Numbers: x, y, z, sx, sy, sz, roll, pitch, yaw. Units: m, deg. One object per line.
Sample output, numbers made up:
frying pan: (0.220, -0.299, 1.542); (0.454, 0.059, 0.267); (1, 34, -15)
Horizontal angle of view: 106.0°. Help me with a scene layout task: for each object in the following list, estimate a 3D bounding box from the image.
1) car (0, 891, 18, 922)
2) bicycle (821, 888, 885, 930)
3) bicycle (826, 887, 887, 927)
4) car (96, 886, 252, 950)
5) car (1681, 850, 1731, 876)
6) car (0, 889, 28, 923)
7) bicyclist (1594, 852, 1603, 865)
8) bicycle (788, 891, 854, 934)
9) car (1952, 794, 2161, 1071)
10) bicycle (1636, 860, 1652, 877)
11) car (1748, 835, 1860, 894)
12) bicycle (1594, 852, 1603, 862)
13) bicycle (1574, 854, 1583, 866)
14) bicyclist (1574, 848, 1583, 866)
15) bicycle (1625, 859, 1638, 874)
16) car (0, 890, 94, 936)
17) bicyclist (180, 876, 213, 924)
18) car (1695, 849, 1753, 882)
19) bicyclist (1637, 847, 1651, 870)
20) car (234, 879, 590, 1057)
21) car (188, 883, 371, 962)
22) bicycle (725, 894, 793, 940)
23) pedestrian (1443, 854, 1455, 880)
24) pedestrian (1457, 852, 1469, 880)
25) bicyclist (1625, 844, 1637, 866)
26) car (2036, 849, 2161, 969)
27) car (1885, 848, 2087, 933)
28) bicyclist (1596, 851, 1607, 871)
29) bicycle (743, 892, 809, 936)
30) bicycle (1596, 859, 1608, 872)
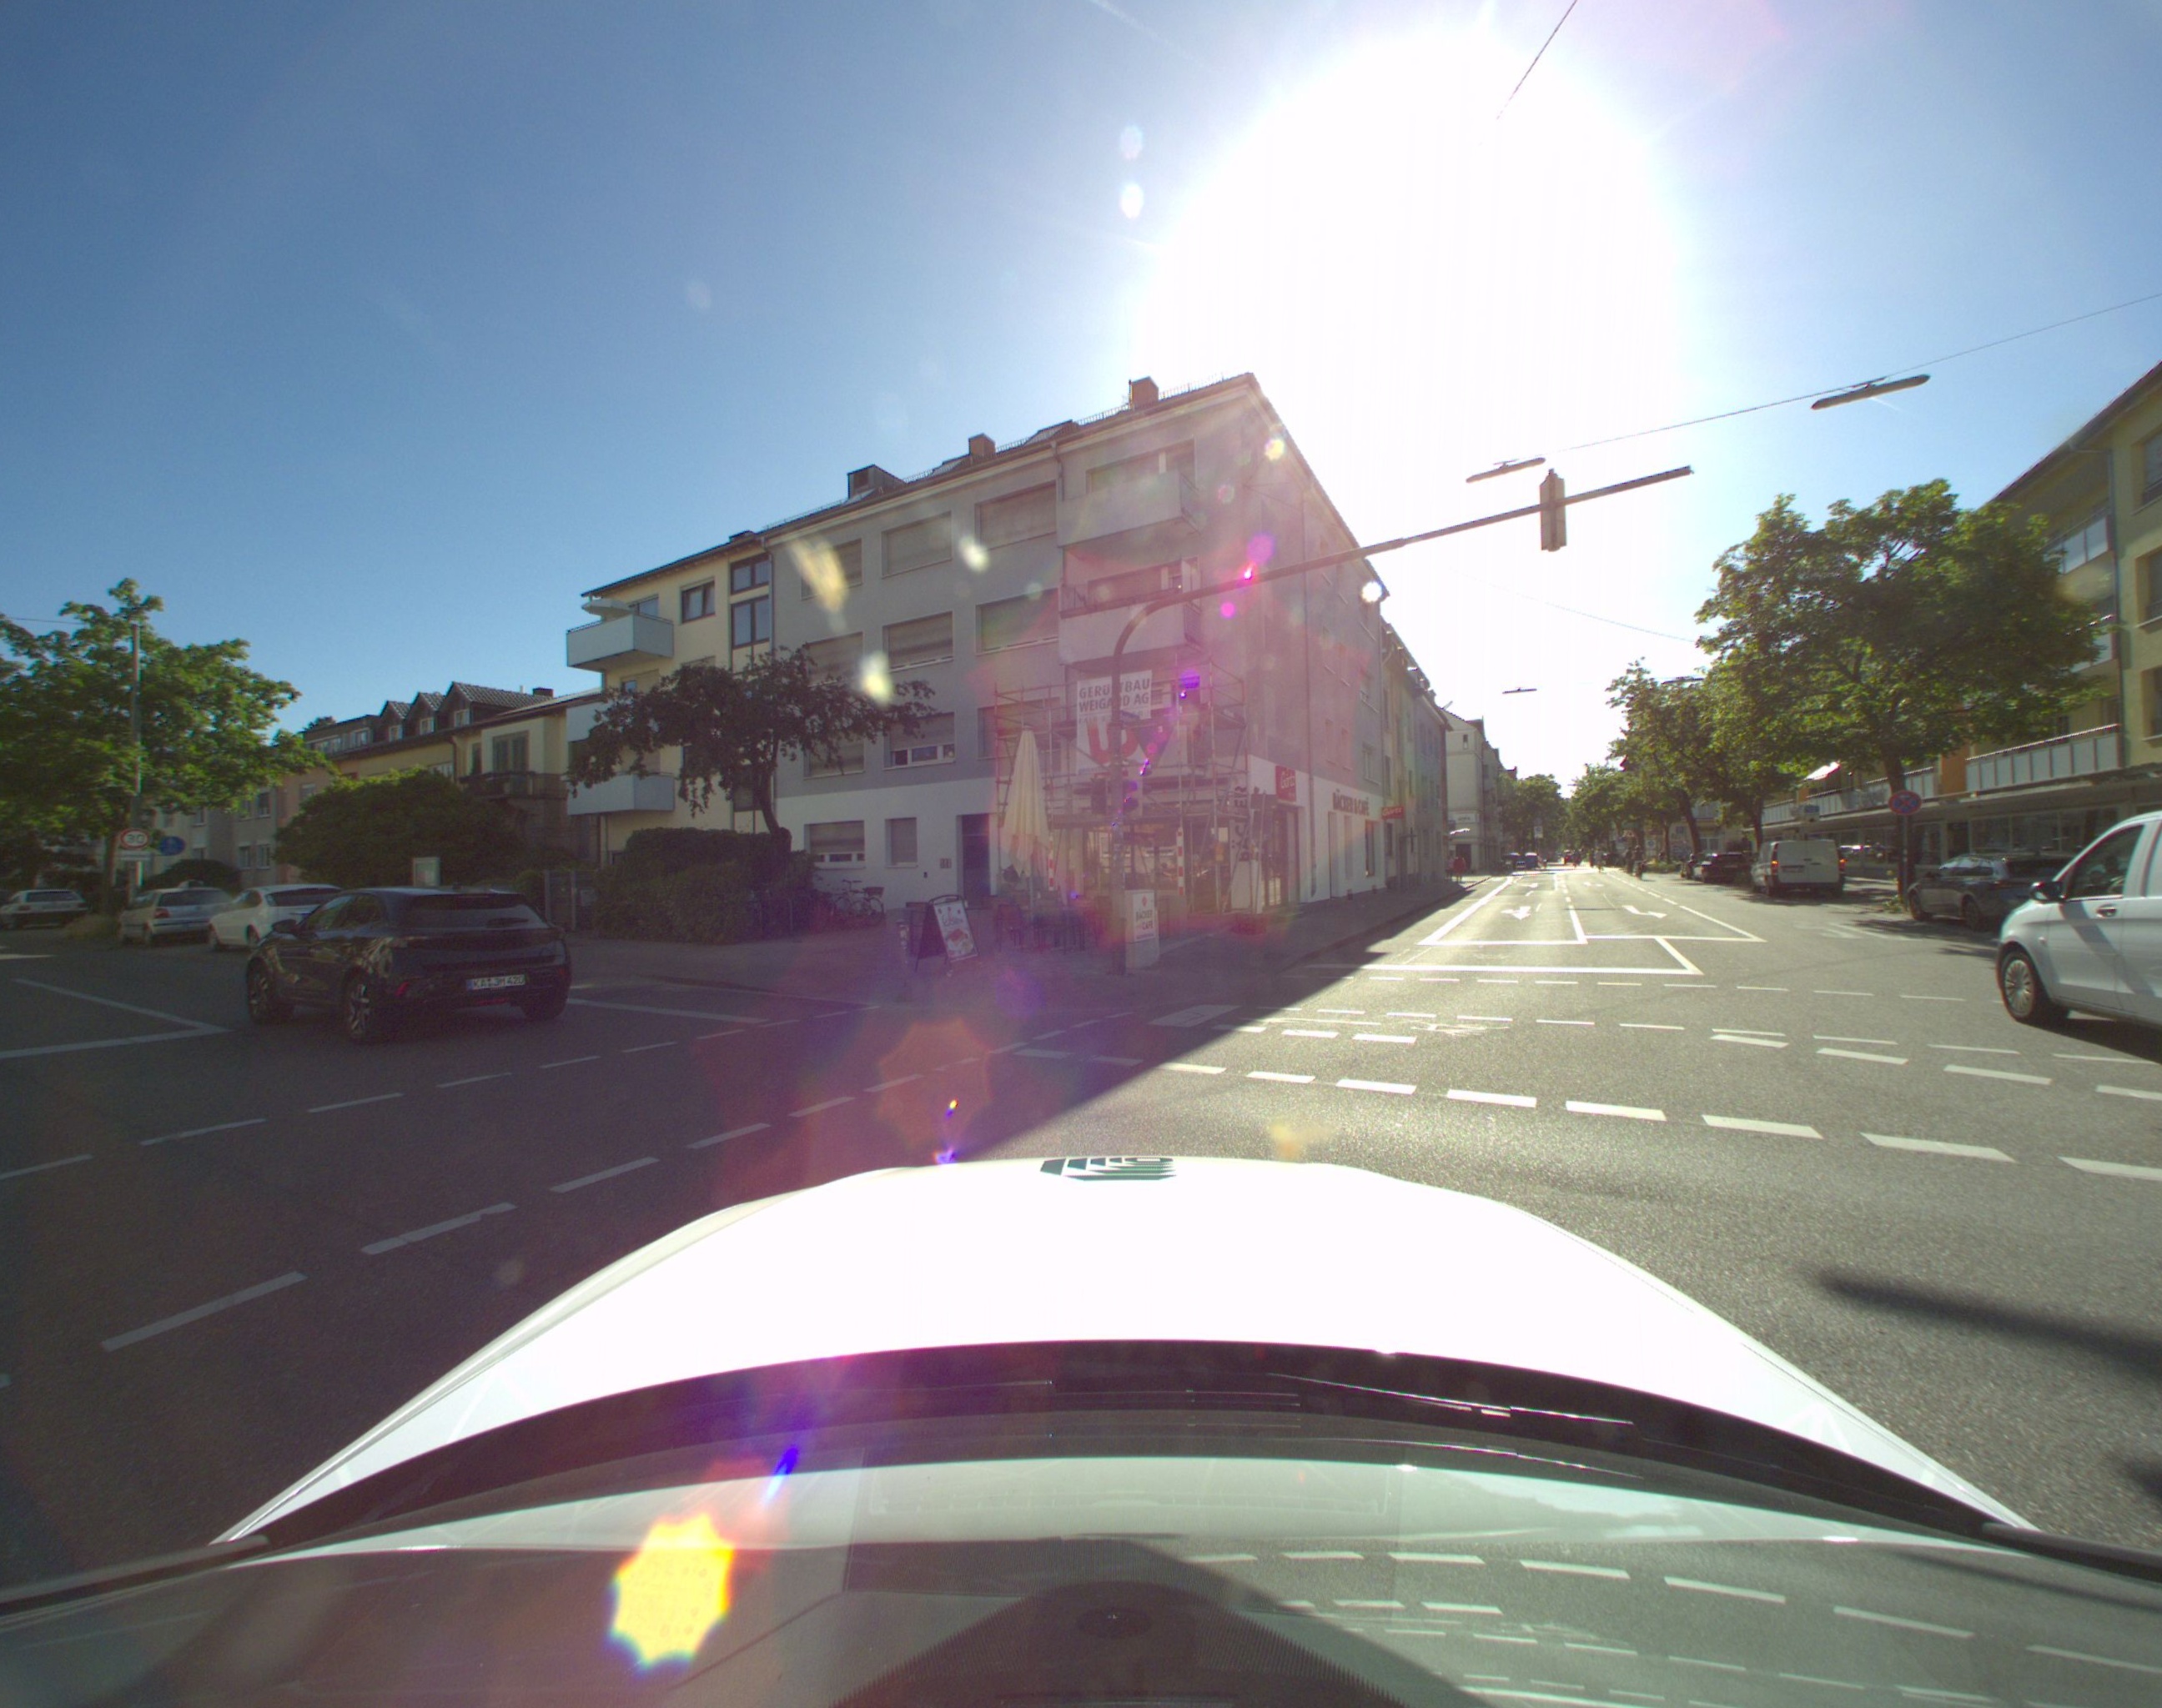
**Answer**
car: (-53.019, 2.563, 39.049); (3.949, 1.430, 1.928); (-2, 1, 30)
bicycle: (-5.431, 1.309, 19.383); (1.573, 0.940, 0.516); (-2, -1, 32)
bicycle: (-5.633, 1.314, 20.383); (1.573, 0.940, 0.516); (-2, -1, 32)
car: (-24.374, 1.665, 21.877); (3.949, 1.430, 1.928); (-2, 1, 30)
car: (33.685, 0.467, 43.987); (1.696, 1.314, 3.402); (-2, -1, 30)
car: (-48.983, 2.364, 36.288); (3.949, 1.430, 1.928); (-2, 1, 30)
bicyclist: (47.363, 0.426, 74.515); (0.685, 1.193, 0.599); (-2, -1, 31)
bicycle: (-5.985, 1.329, 18.708); (1.573, 0.940, 0.516); (-2, -1, 32)
car: (8.124, 0.493, 5.254); (1.949, 1.810, 4.862); (-2, -1, 29)
bicycle: (30.514, 0.801, 44.154); (0.541, 0.866, 1.888); (-2, -1, 31)
car: (24.678, 0.347, 27.995); (2.026, 1.846, 4.613); (-2, -1, 31)
bicycle: (47.251, 0.284, 74.349); (0.684, 0.866, 1.888); (-2, -1, 31)
bicycle: (46.874, 0.541, 76.724); (0.626, 1.041, 1.806); (-3, -1, 30)
bicyclist: (46.678, 0.239, 76.413); (0.626, 1.669, 1.057); (-3, -1, 30)
bicycle: (34.078, 0.775, 50.418); (0.541, 0.866, 1.888); (-2, -1, 31)
car: (-38.565, 2.157, 30.106); (3.949, 1.430, 1.928); (-2, 1, 30)
bicyclist: (-28.960, 1.493, 26.671); (0.804, 1.549, 0.558); (-1, -1, 29)
car: (30.774, 0.531, 39.051); (1.696, 1.483, 3.402); (-2, -1, 30)
bicyclist: (30.425, 0.245, 44.046); (0.541, 1.262, 0.808); (-2, -1, 31)
car: (-7.538, 1.104, 9.112); (3.949, 1.558, 1.779); (-2, -1, 30)
car: (-18.299, 1.501, 18.572); (3.949, 1.519, 1.928); (-2, 0, 30)
bicycle: (-7.010, 1.354, 17.717); (1.573, 0.940, 0.516); (-2, -1, 32)
pedestrian: (21.322, 0.756, 47.227); (0.571, 1.467, 0.706); (-2, -1, 25)
pedestrian: (21.927, 0.693, 46.705); (0.571, 1.583, 0.712); (-2, -1, 25)
bicyclist: (34.063, 0.056, 50.436); (0.541, 1.382, 0.828); (-2, -1, 31)
car: (15.127, 0.690, 11.070); (1.696, 1.483, 3.502); (-2, -1, 30)
car: (17.755, 0.650, 16.182); (1.696, 1.483, 3.402); (-2, -1, 30)
bicyclist: (36.444, 0.480, 57.032); (0.583, 1.382, 0.828); (-2, -1, 31)
bicycle: (-6.891, 1.348, 18.384); (1.573, 0.940, 0.516); (-2, -1, 32)
bicycle: (36.415, 0.825, 56.959); (0.614, 0.866, 1.888); (-2, -1, 31)
